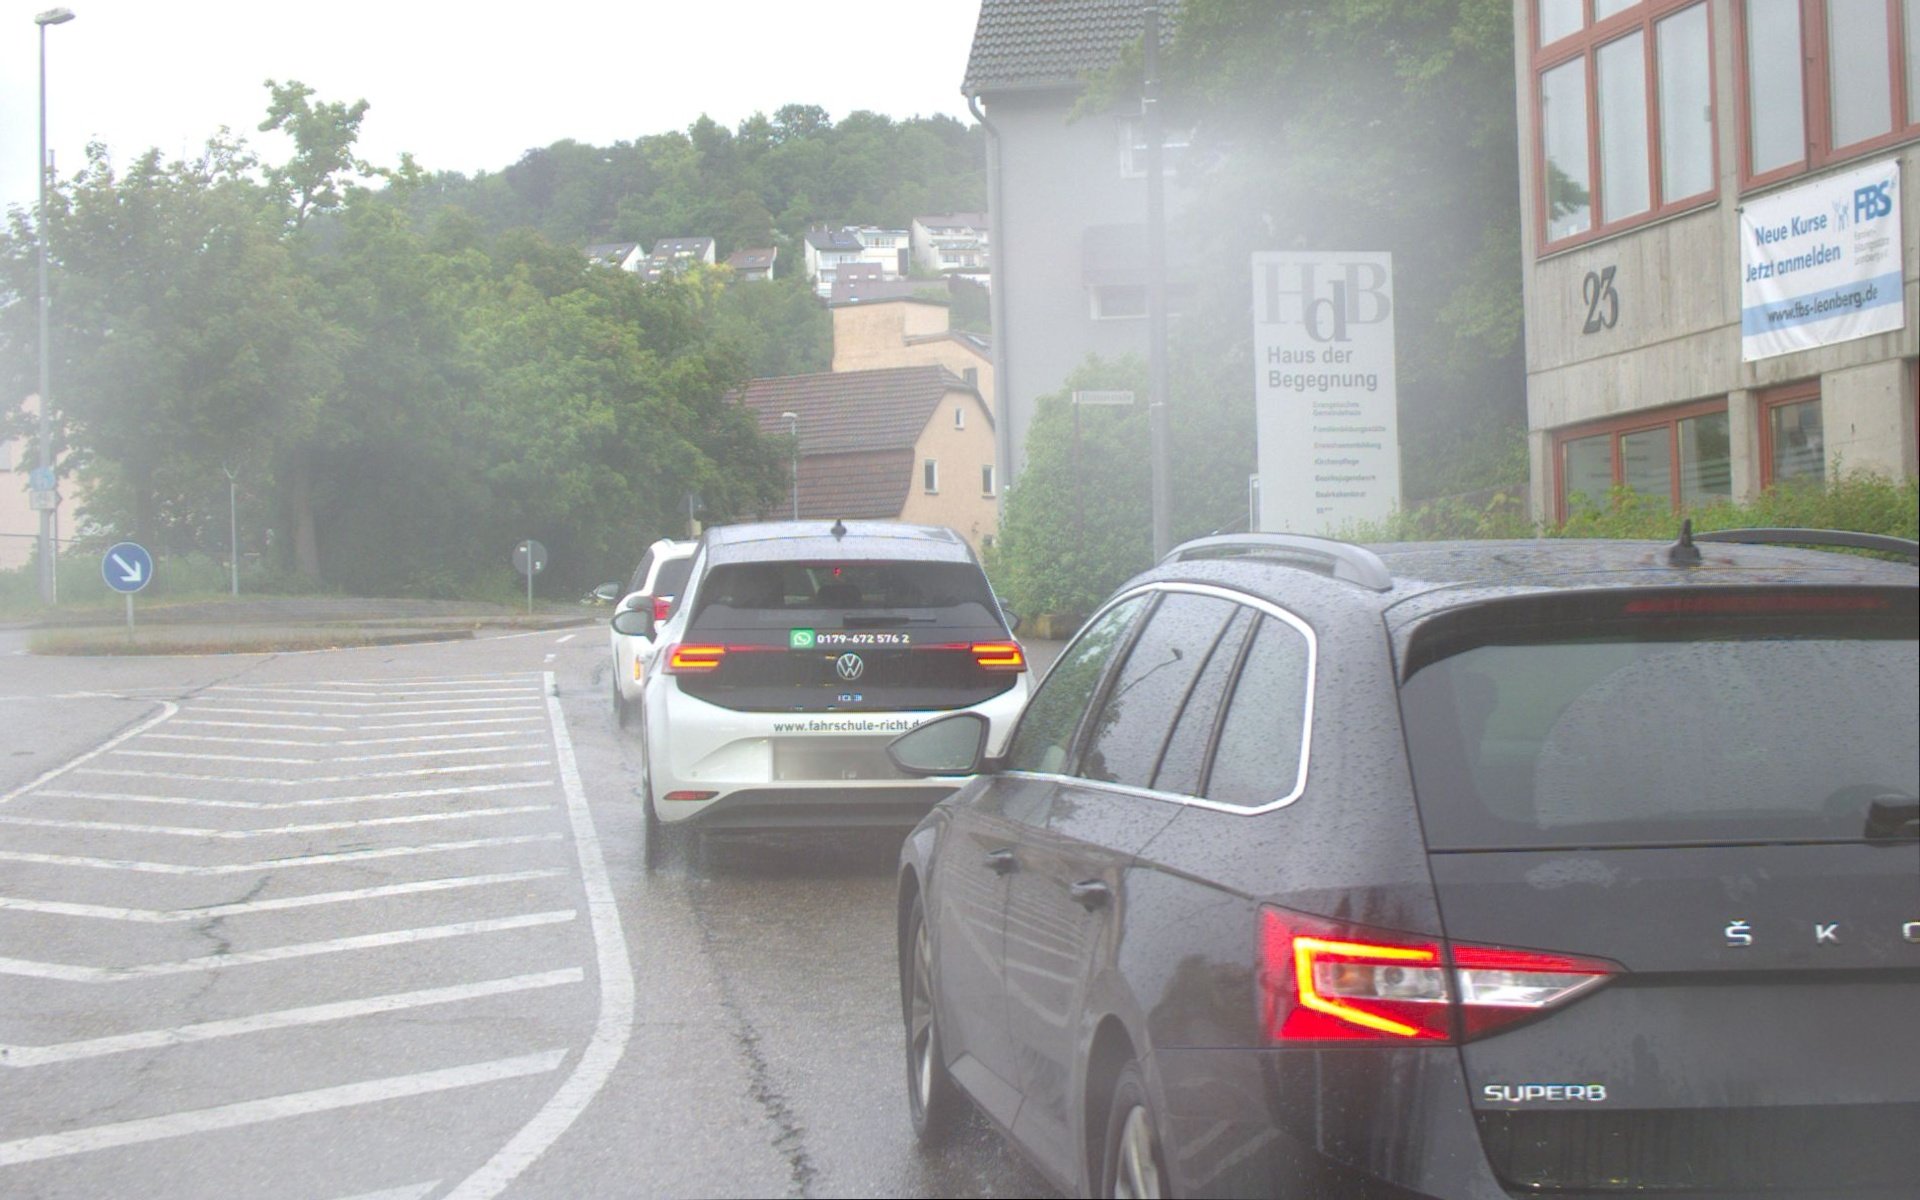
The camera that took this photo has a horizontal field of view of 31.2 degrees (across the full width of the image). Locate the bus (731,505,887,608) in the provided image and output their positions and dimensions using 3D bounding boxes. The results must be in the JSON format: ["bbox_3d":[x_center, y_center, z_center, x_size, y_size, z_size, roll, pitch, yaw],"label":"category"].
[{"bbox_3d":[-4.040,-1.236,93.697,2.398,2.667,7.044,-1,1,13],"label":"bus"}]

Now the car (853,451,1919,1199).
[{"bbox_3d":[1.009,0.586,6.587,1.953,1.502,4.609,2,0,-7],"label":"car"}]

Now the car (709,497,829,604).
[{"bbox_3d":[-2.832,-0.751,51.519,1.567,1.525,4.000,-1,1,0],"label":"car"}]

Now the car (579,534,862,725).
[{"bbox_3d":[-2.001,0.208,27.566,1.847,1.405,4.302,0,0,-10],"label":"car"}]

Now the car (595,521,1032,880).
[{"bbox_3d":[-0.723,0.415,16.497,1.828,1.495,4.169,0,0,-3],"label":"car"}]
